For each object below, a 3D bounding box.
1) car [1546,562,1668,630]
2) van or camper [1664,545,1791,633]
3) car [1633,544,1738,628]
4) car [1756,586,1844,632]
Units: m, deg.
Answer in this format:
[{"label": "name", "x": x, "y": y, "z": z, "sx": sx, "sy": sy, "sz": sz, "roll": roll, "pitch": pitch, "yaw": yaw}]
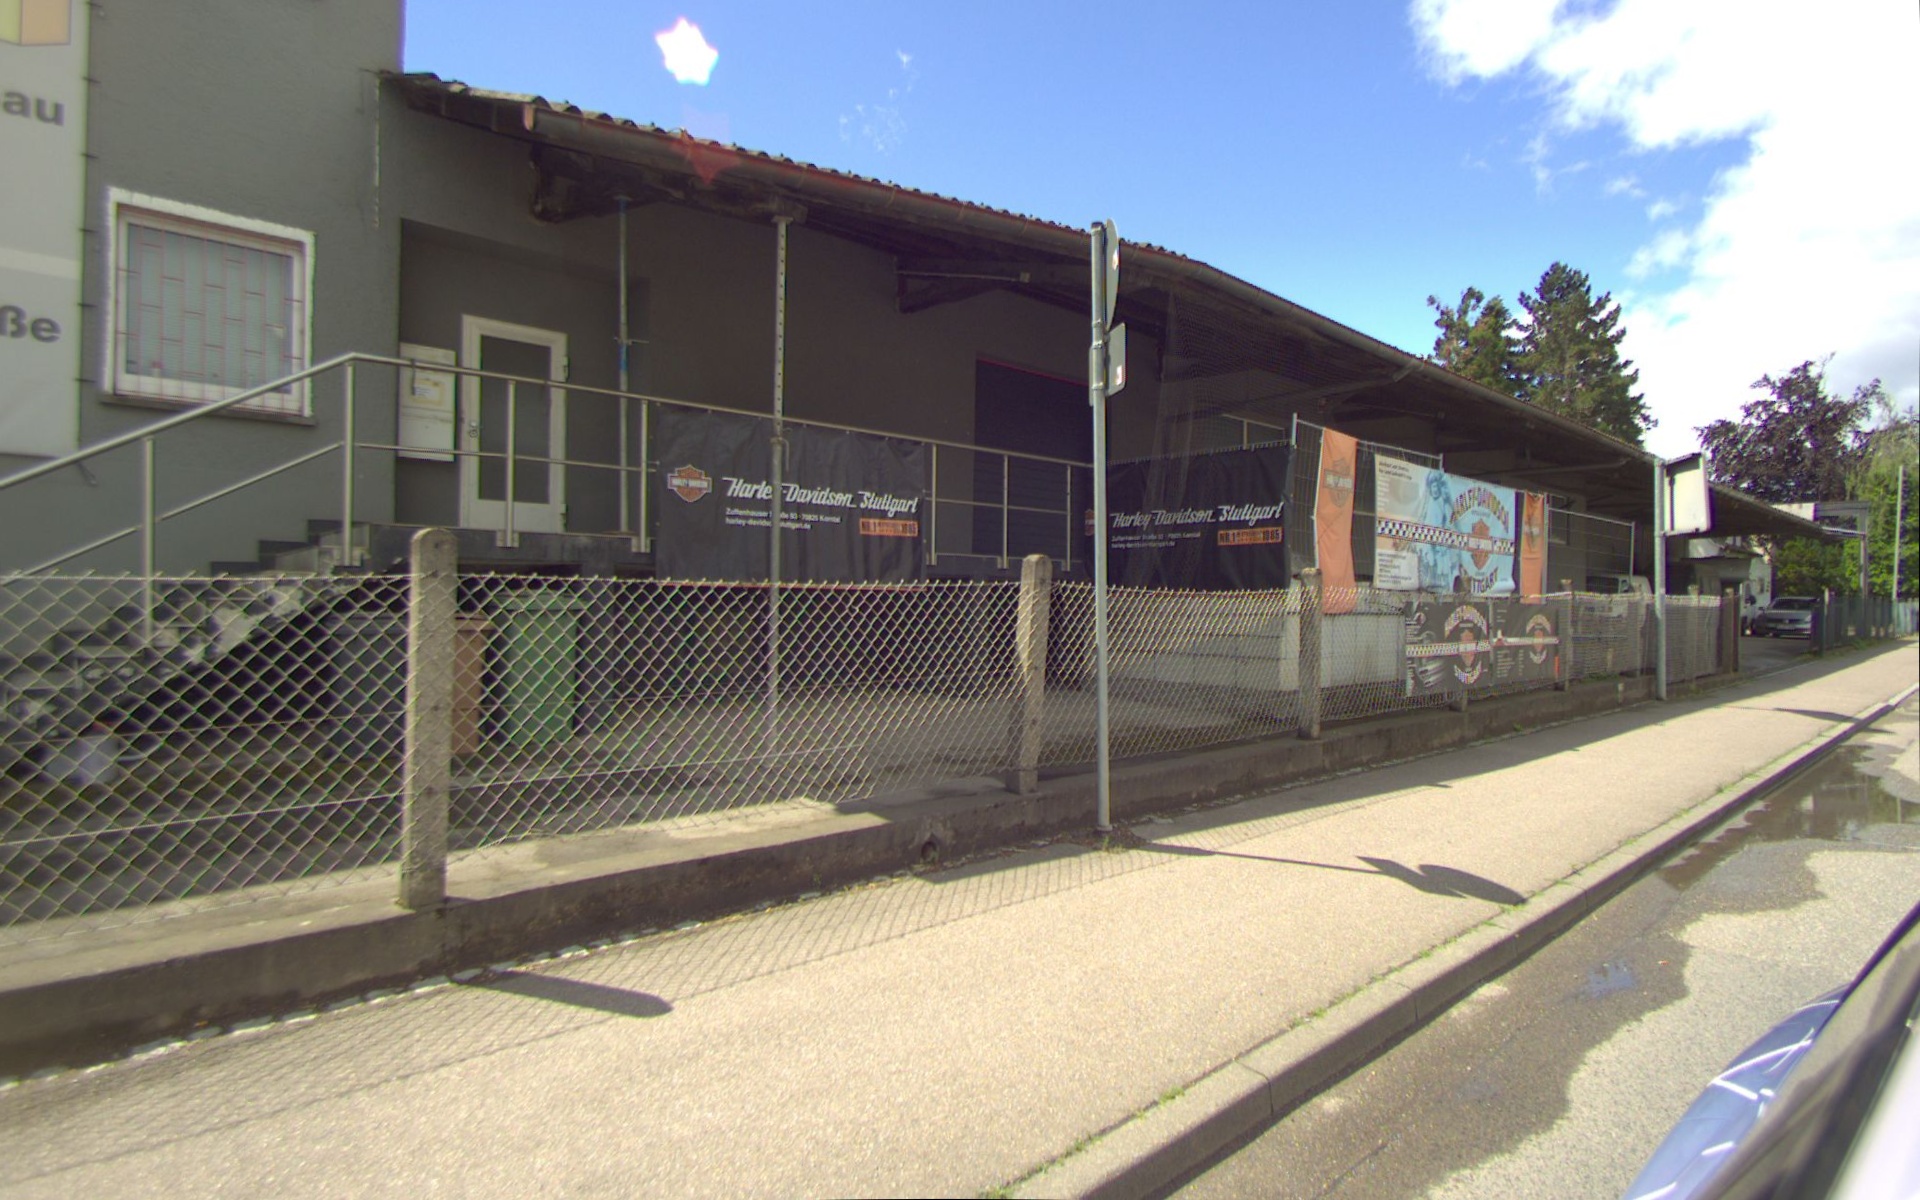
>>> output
[{"label": "car", "x": 19.800, "y": -0.101, "z": 30.905, "sx": 4.770, "sy": 1.934, "sz": 1.996, "roll": 1, "pitch": 0, "yaw": -43}, {"label": "van or camper", "x": 29.614, "y": -0.418, "z": 38.919, "sx": 6.798, "sy": 3.099, "sz": 2.883, "roll": 0, "pitch": 0, "yaw": -44}, {"label": "car", "x": 25.169, "y": -0.409, "z": 35.009, "sx": 5.405, "sy": 2.715, "sz": 2.019, "roll": 2, "pitch": -1, "yaw": -44}, {"label": "car", "x": 29.603, "y": 0.303, "z": 35.618, "sx": 4.842, "sy": 1.508, "sz": 1.766, "roll": 1, "pitch": 0, "yaw": -43}]
